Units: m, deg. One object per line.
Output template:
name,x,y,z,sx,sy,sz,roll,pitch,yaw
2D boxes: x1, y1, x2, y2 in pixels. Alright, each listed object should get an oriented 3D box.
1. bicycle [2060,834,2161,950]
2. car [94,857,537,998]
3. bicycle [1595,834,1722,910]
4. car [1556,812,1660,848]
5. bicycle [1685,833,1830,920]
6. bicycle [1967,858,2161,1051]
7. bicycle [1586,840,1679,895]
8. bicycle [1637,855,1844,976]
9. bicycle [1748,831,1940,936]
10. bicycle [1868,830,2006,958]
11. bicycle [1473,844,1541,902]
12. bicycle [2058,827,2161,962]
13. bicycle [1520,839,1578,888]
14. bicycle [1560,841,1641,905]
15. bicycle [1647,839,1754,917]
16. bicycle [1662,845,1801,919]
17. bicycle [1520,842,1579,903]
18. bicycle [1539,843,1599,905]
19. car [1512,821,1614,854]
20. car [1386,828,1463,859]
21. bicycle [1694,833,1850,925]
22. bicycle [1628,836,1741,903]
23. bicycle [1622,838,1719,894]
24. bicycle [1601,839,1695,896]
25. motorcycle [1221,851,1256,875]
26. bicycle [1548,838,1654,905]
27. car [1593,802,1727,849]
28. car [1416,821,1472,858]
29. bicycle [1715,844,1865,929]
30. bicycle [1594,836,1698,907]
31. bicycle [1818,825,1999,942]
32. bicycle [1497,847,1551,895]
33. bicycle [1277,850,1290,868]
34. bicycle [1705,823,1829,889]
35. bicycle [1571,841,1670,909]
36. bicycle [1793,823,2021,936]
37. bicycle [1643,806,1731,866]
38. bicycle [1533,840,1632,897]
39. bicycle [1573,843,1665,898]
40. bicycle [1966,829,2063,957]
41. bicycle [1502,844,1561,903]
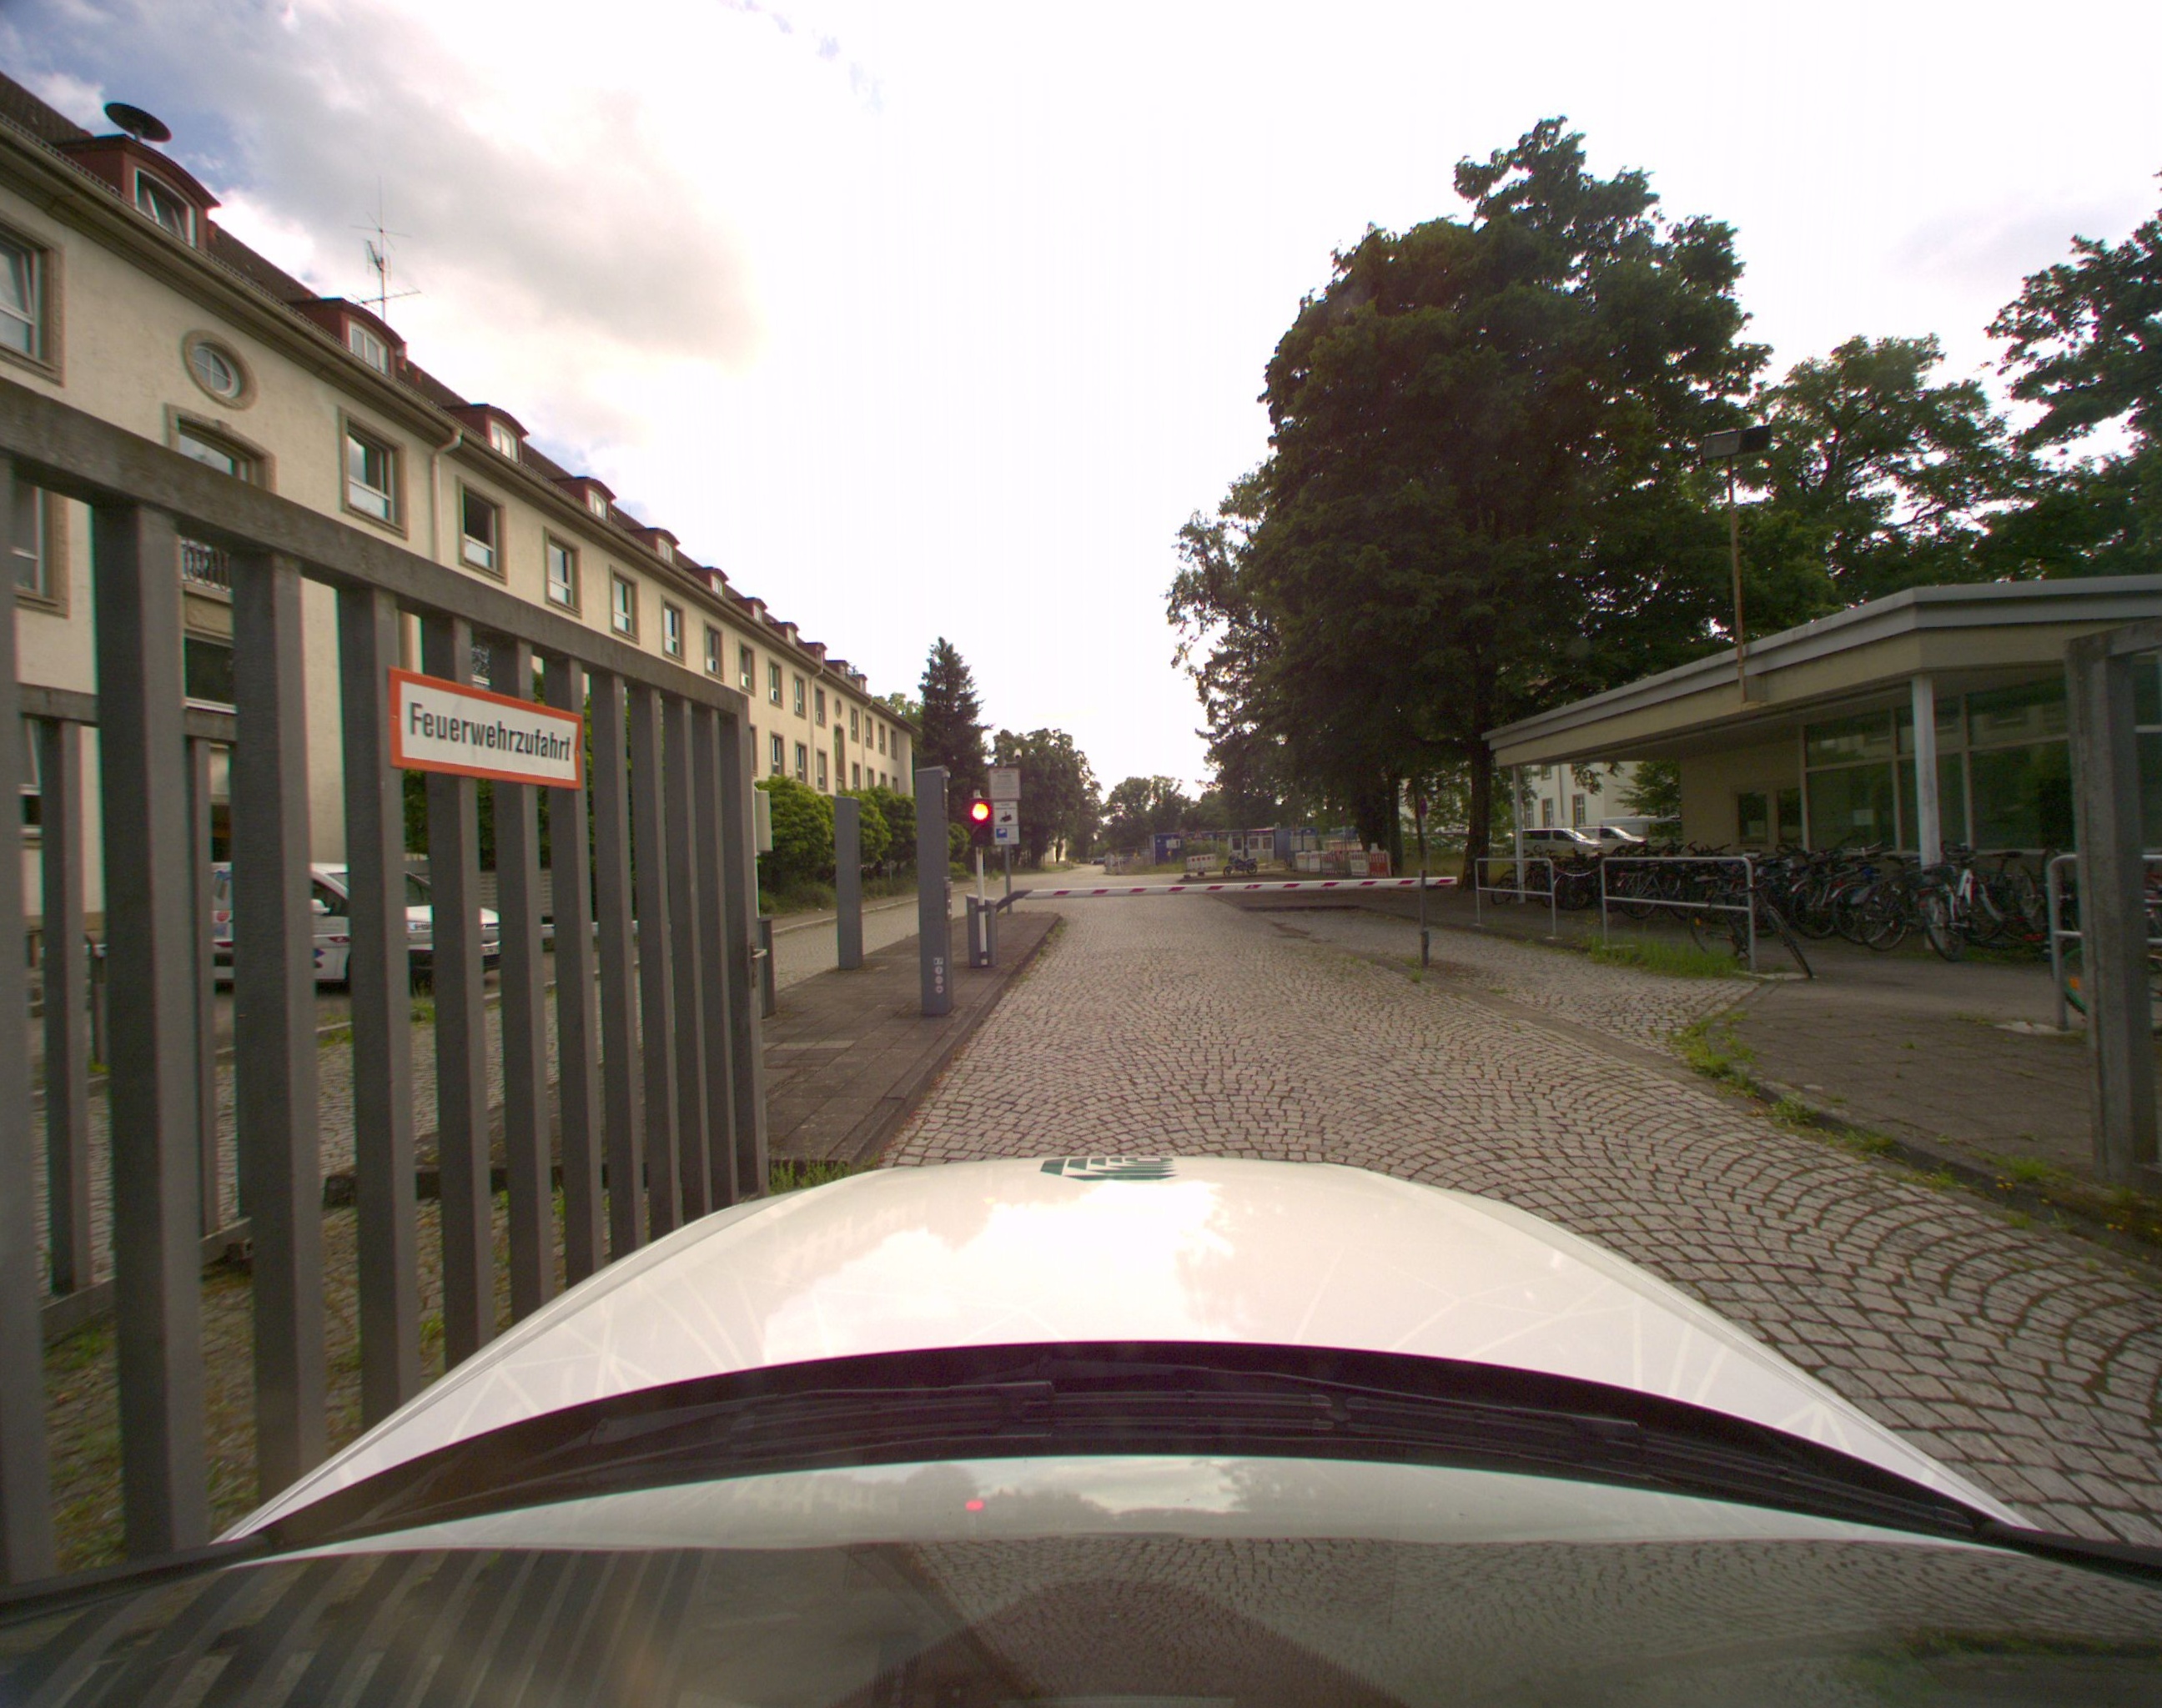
bicycle,10.287,0.338,7.533,0.433,1.083,1.595,-3,-3,1
car,-10.671,0.977,11.639,4.424,1.751,1.858,1,0,-2
bicycle,9.730,0.306,13.739,1.801,1.171,0.581,-3,-3,-11
car,30.990,-1.370,48.065,2.004,1.789,4.798,-2,-1,-26
bicycle,10.085,0.334,12.137,1.978,1.171,0.400,-3,-3,-10
bicycle,6.504,0.573,4.836,0.727,1.057,1.595,-3,0,2
bicycle,11.497,0.299,17.068,0.371,1.081,1.892,-3,-2,-9
bicycle,6.673,0.571,8.372,0.727,1.072,1.715,-3,0,2
bicycle,9.484,0.359,10.148,1.945,1.171,0.485,-3,-3,-4
bicycle,8.887,0.387,8.443,1.656,1.171,0.432,-3,-2,-26
bicycle,9.251,0.410,17.681,1.383,1.171,0.431,-3,-2,-20
bicycle,9.638,0.338,7.636,1.662,1.119,0.431,-3,-2,-43
bicycle,11.745,0.265,20.474,0.502,1.171,1.554,-3,-2,1
bicycle,10.266,0.379,16.107,1.377,1.171,0.358,-3,-3,-7
bicycle,10.012,0.379,13.159,1.705,1.160,0.399,-2,-3,-18
bicycle,10.026,0.429,12.559,1.978,1.029,0.400,-3,-3,-10
bicycle,9.631,0.373,16.730,1.387,1.171,0.355,-2,-3,-31
bicycle,9.816,0.397,16.377,1.387,1.171,0.355,-2,-3,-31
car,28.201,-0.922,47.834,2.004,1.650,4.798,-2,-1,-26
car,22.619,-0.652,53.755,4.201,1.820,2.002,-2,-1,3
bicycle,9.773,0.349,11.522,2.015,1.171,0.400,-3,-3,-9
bicycle,11.875,0.270,16.112,0.371,1.117,1.893,-18,7,-8
bicycle,12.274,0.278,17.033,0.371,1.083,1.892,-3,-2,-9
bicycle,11.902,0.287,17.160,0.371,1.119,1.892,-3,-1,-9
motorcycle,9.241,0.524,47.767,1.950,1.194,0.461,-4,4,0
bicycle,10.016,0.340,15.693,1.797,1.171,0.358,-3,-3,-5
car,34.049,-1.617,48.162,2.006,2.308,6.141,-2,-1,-29
car,25.893,-0.987,58.316,1.984,2.424,5.364,-2,-1,5
bicycle,9.589,0.435,11.025,1.767,1.031,0.353,-3,-3,-5
bicycle,10.118,0.310,14.583,1.806,1.171,0.494,-2,-3,-19
bicycle,8.949,0.321,8.834,1.386,1.171,0.436,-3,-3,2
bicycle,11.159,0.397,20.564,0.502,1.086,1.586,-3,2,1
bicycle,12.230,0.328,49.268,0.330,1.007,1.726,-3,-2,1
bicycle,12.464,0.063,14.879,0.371,1.119,1.892,-3,-2,-9
bicycle,10.001,0.385,15.101,1.749,1.171,0.494,-2,-3,-19
bicycle,9.586,0.293,9.488,2.063,1.171,0.486,-3,-3,0
bicycle,12.700,-0.346,17.141,0.370,1.128,1.898,-3,-2,0
bicycle,10.551,0.325,17.211,0.446,1.119,1.784,-2,-2,-23
bicycle,11.151,0.326,16.948,0.371,1.067,1.907,-3,0,-9
bicycle,9.329,0.350,8.125,1.660,1.171,0.431,-1,-3,-37
bicycle,9.460,0.409,17.094,1.387,1.171,0.355,-2,-3,-31
